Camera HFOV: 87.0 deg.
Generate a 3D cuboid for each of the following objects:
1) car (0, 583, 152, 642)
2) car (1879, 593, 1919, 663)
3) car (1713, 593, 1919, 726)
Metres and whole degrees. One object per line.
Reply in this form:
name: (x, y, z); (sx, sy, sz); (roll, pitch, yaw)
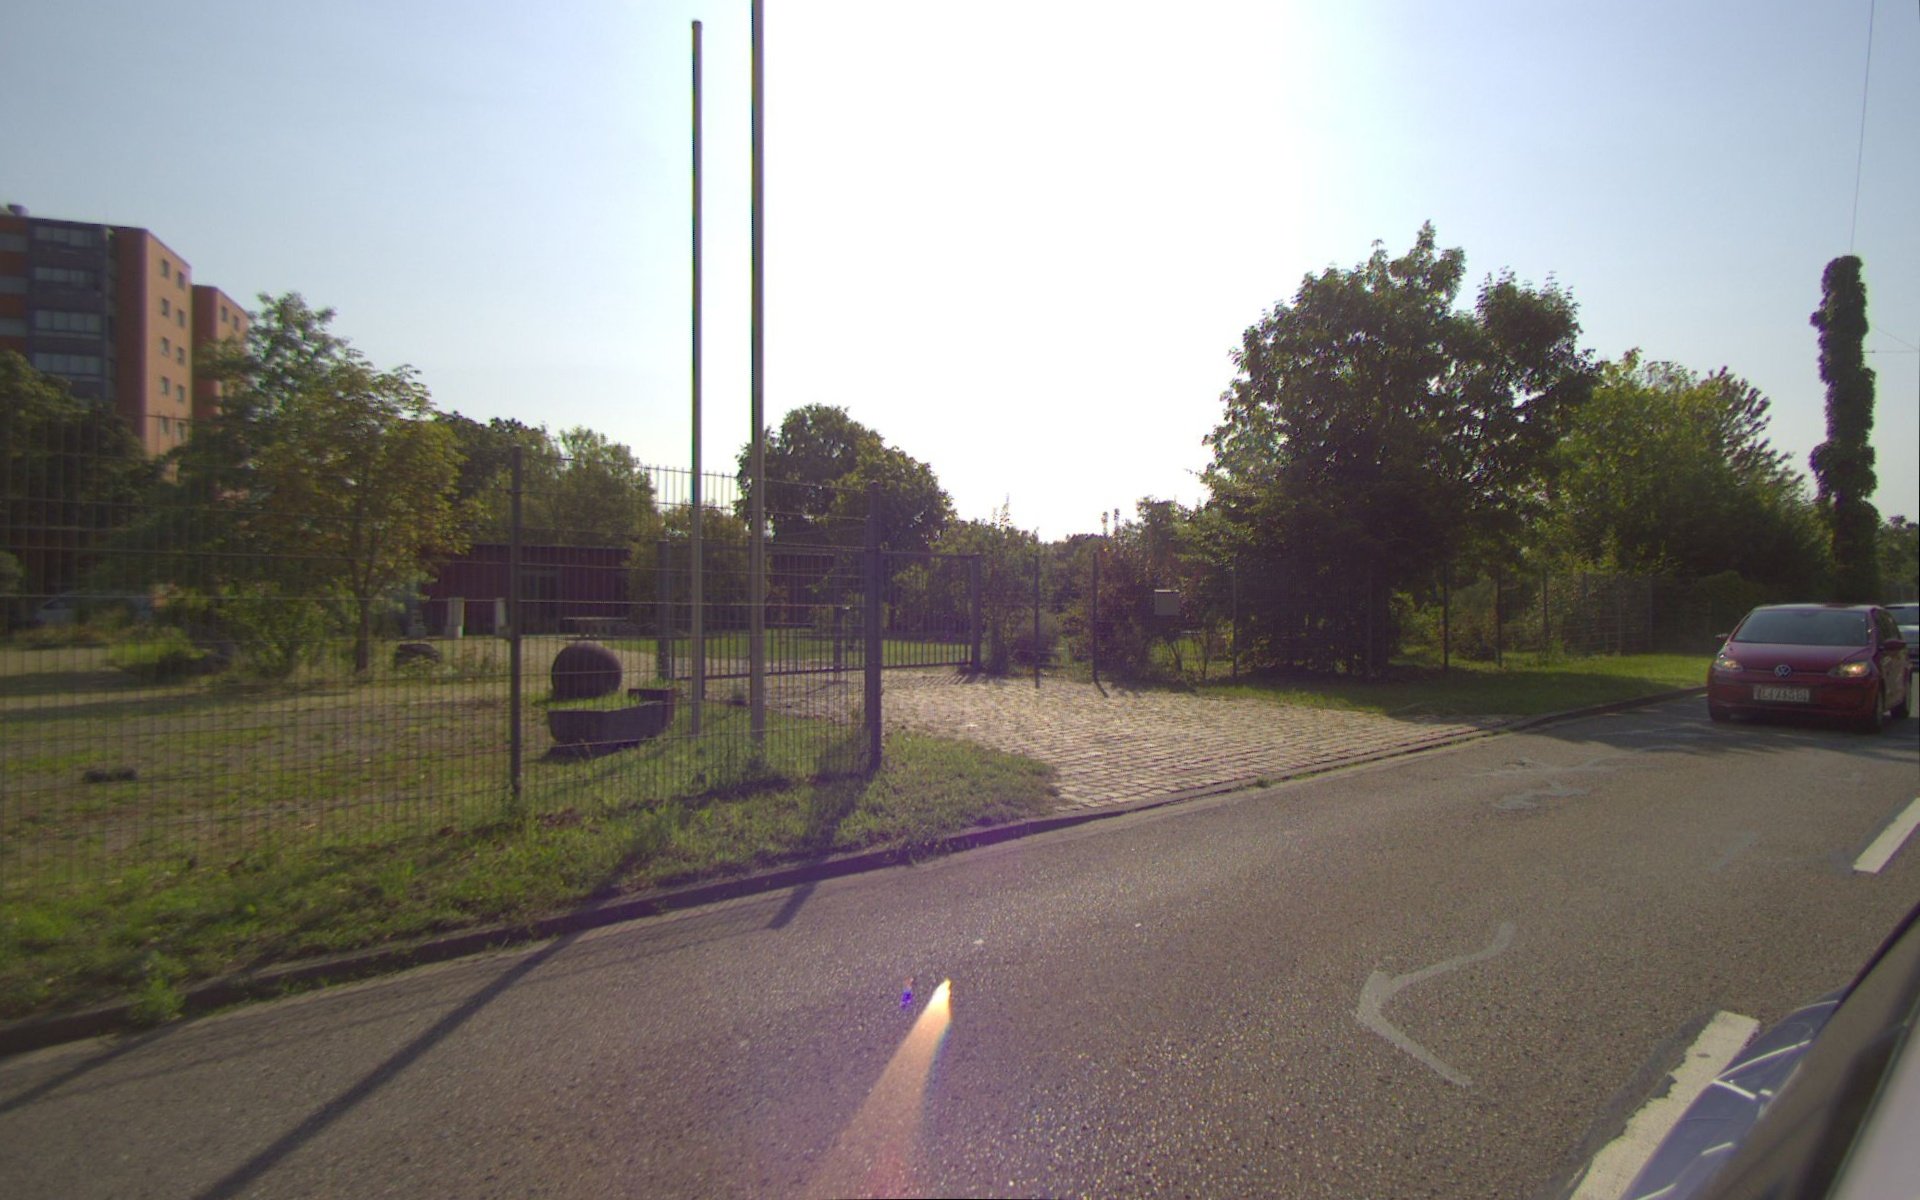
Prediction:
car: (-27.635, 0.357, 31.400); (3.931, 1.738, 1.743); (0, 0, -41)
car: (22.512, 0.599, 23.245); (3.831, 1.494, 1.647); (-1, 0, -41)
car: (10.958, 0.638, 12.789); (3.410, 1.416, 1.578); (-1, 1, -40)
